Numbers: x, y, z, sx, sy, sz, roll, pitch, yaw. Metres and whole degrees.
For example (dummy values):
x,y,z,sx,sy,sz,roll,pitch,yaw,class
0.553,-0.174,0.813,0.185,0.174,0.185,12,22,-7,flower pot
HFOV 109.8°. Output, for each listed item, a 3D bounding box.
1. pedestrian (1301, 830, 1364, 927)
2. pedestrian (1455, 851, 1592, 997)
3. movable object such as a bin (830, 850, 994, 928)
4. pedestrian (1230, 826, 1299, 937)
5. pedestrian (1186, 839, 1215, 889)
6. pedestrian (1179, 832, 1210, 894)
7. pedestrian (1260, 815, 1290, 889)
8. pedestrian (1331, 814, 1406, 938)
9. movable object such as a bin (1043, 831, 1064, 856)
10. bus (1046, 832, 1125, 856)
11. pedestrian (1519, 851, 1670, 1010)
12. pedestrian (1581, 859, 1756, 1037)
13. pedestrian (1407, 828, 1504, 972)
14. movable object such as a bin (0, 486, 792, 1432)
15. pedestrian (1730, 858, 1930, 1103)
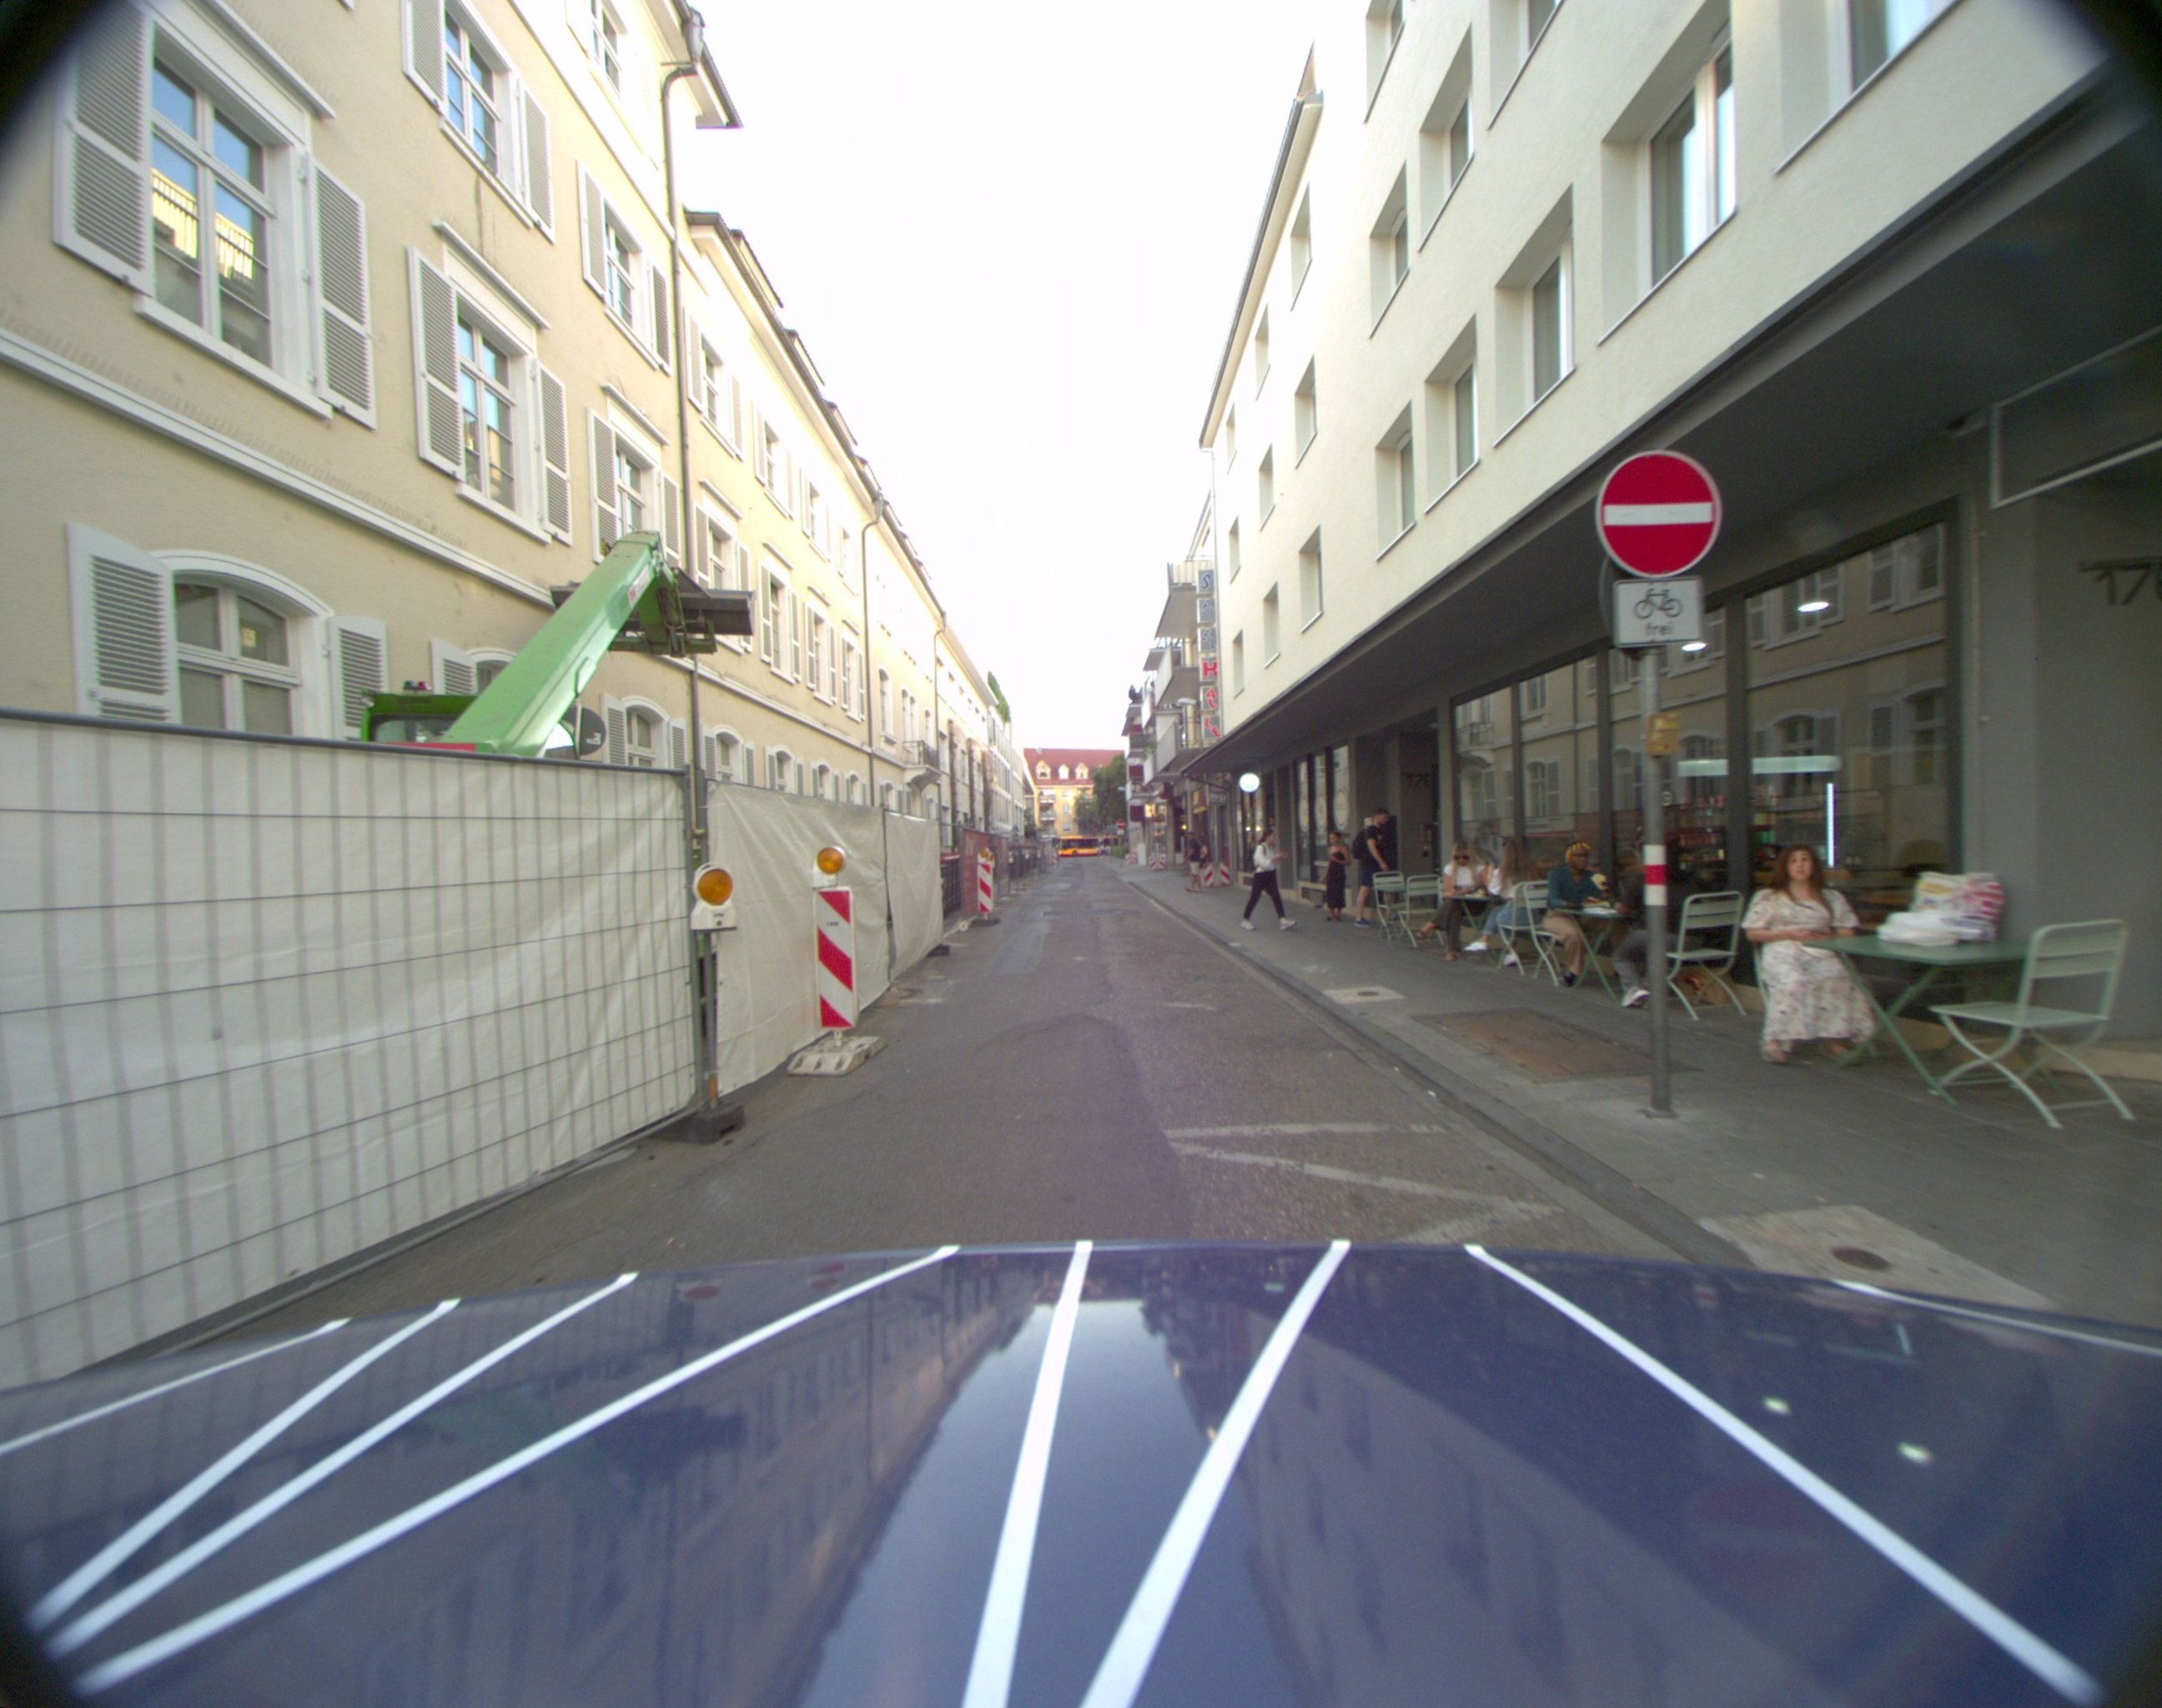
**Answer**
x,y,z,sx,sy,sz,roll,pitch,yaw,class
4.251,0.407,12.853,0.659,1.560,0.637,-4,1,-26,pedestrian
4.250,0.632,7.335,0.707,1.279,0.859,-3,1,-24,pedestrian
-4.149,0.753,20.429,2.898,1.655,7.292,-1,0,-2,movable object such as a bin
2.986,0.430,12.363,0.760,1.729,0.782,-1,1,-40,pedestrian
3.892,0.330,24.771,0.710,1.569,0.613,-4,1,-3,pedestrian
3.383,0.253,22.736,0.706,1.772,0.932,-3,1,0,pedestrian
4.813,-0.061,18.870,0.545,1.800,0.613,-1,1,0,pedestrian
4.418,0.319,11.725,0.716,1.800,0.932,-3,1,0,pedestrian
-3.177,-1.231,88.149,2.097,2.631,4.372,-3,1,0,movable object such as a bin
0.841,-1.605,116.753,12.556,3.307,3.914,-3,3,-40,bus
4.401,0.625,6.573,0.705,1.233,0.778,-6,1,3,pedestrian
4.373,0.673,5.709,0.705,1.188,0.691,-5,1,3,pedestrian
4.222,0.495,8.624,0.705,1.539,0.861,-3,1,8,pedestrian
-4.241,0.327,5.028,2.642,2.856,5.563,-1,1,-2,movable object such as a bin
4.279,0.658,4.411,0.704,1.212,0.843,-2,2,37,pedestrian
